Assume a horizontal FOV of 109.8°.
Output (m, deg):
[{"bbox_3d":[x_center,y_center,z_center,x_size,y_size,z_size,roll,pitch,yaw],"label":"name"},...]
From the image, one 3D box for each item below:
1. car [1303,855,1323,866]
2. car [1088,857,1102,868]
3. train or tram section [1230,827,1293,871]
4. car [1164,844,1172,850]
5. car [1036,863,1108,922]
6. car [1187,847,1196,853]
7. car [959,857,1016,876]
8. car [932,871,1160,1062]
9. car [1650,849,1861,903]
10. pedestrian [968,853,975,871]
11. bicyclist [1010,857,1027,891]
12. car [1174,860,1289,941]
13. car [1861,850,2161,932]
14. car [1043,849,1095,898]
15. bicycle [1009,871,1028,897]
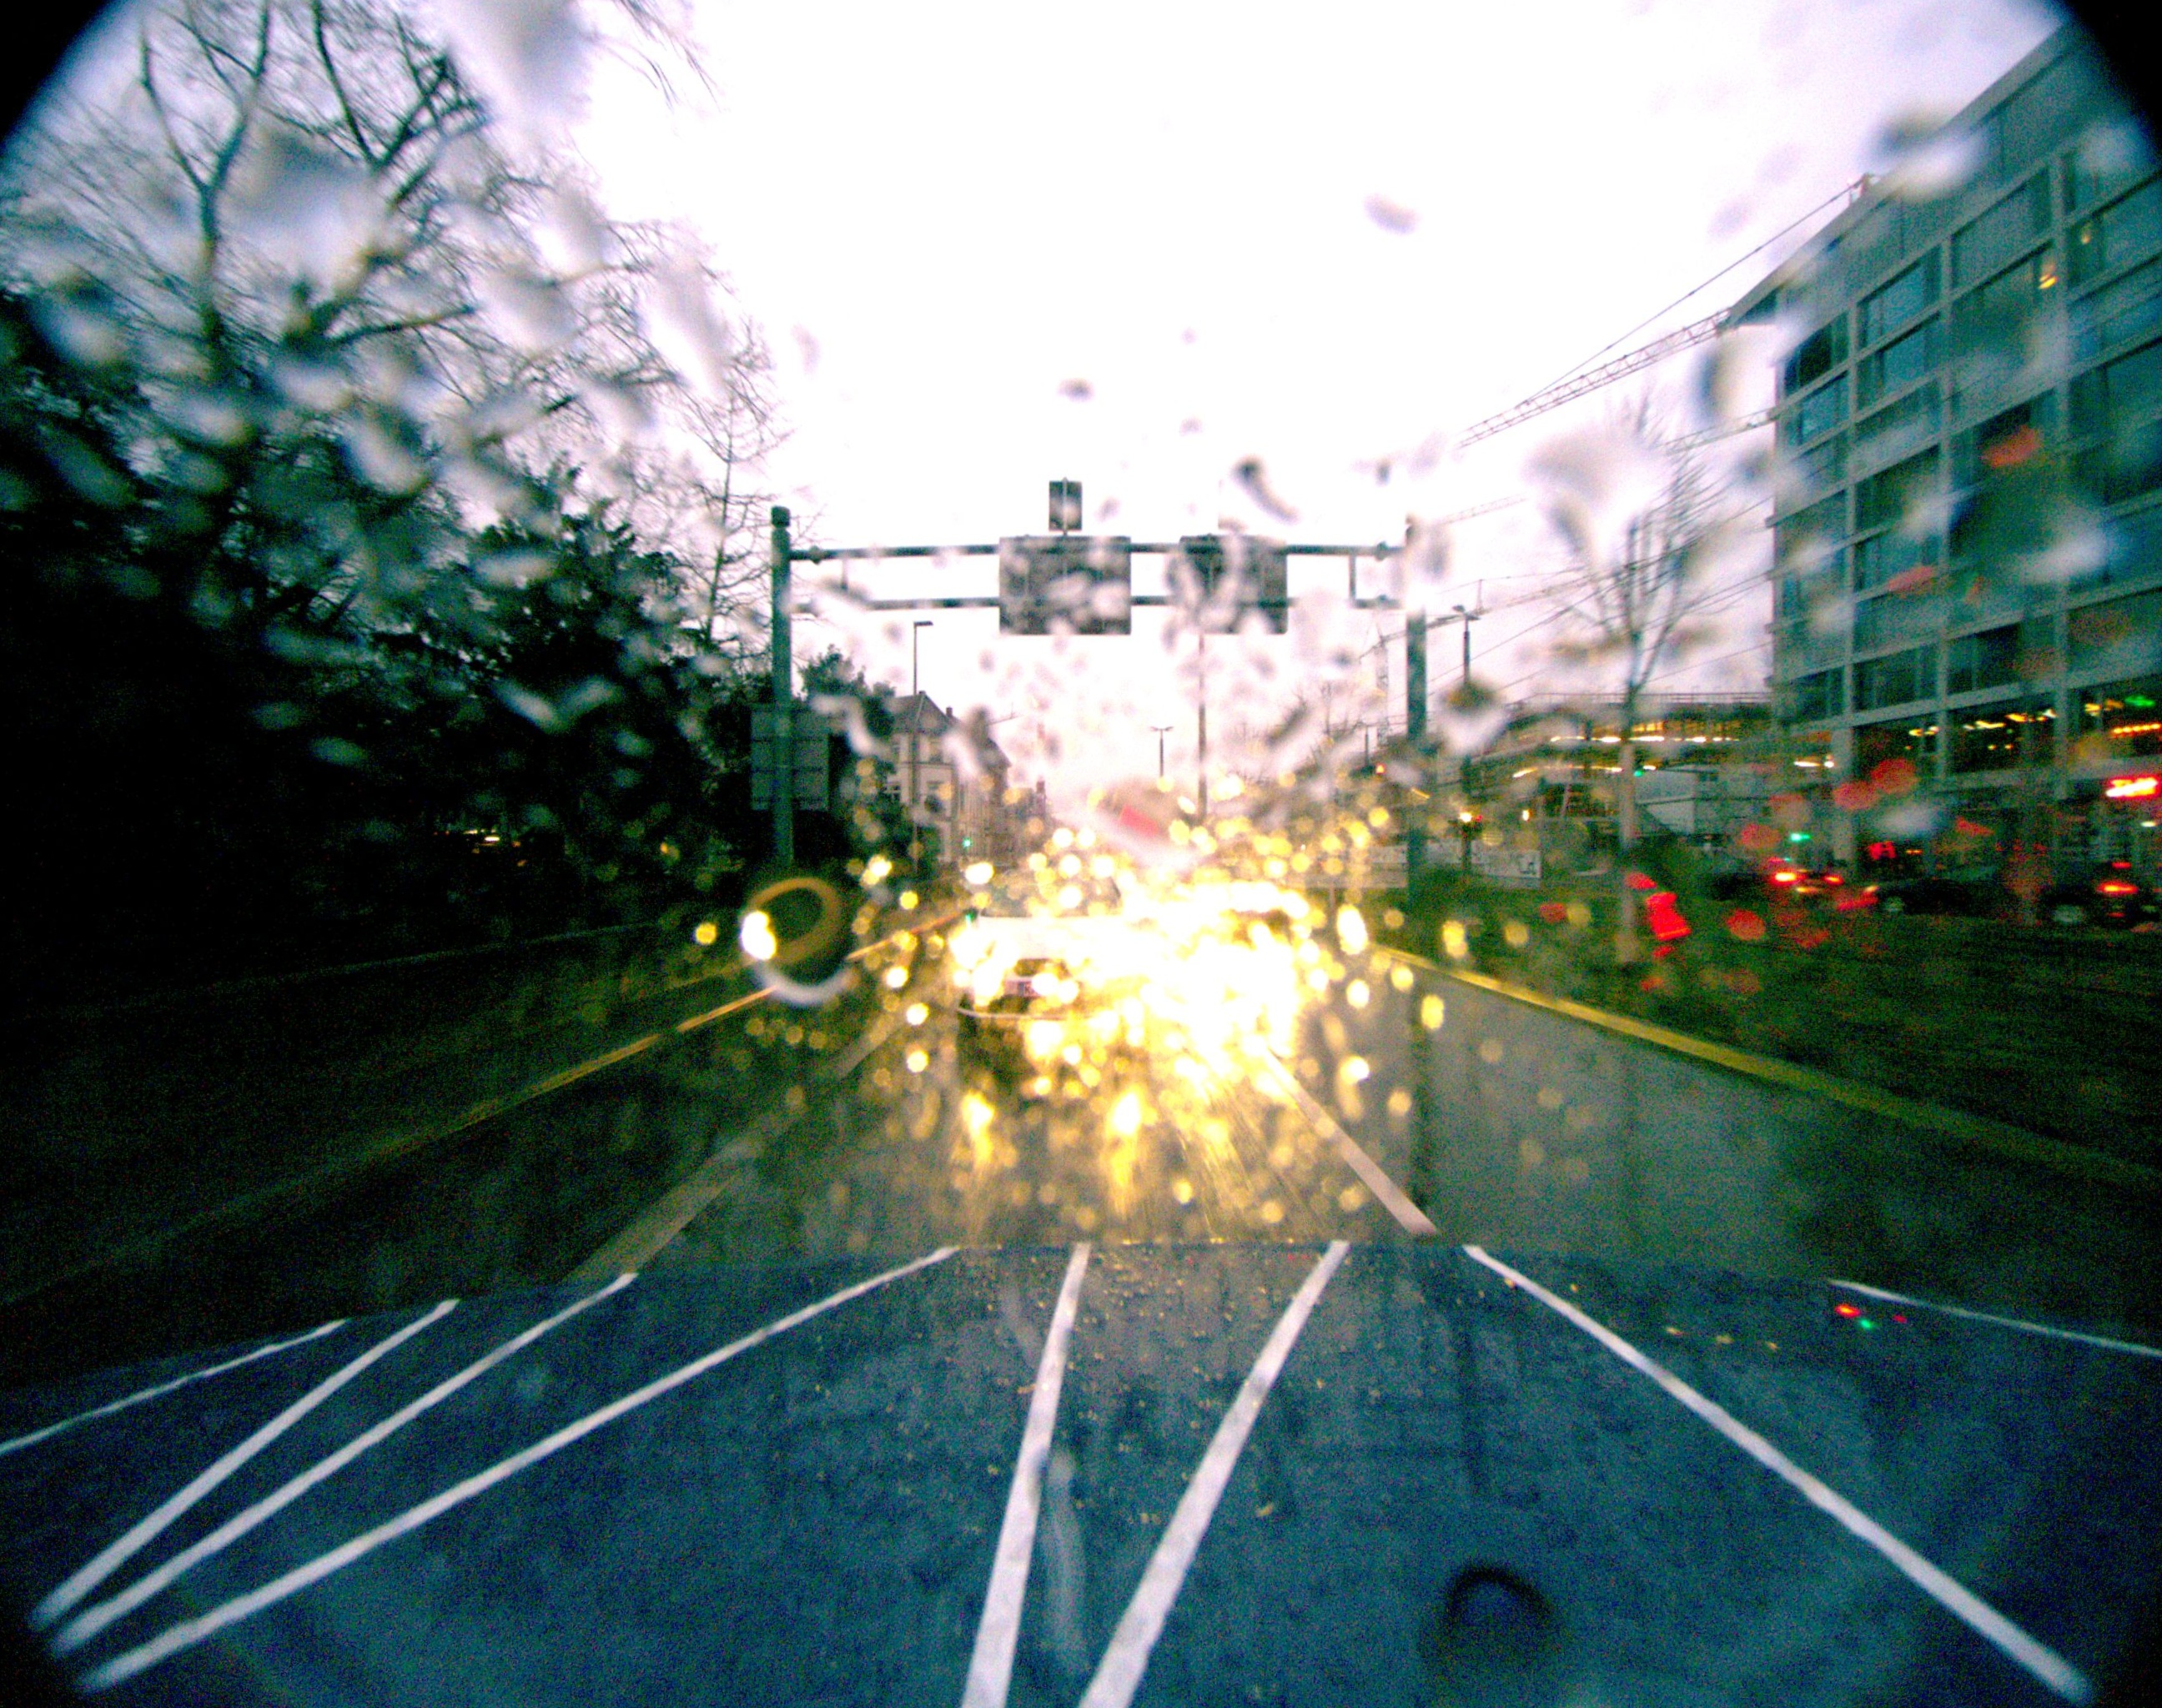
[{"bbox_3d":[35.182,0.964,115.261,1.998,1.556,4.001,0,0,3],"label":"car"},{"bbox_3d":[1.898,1.142,103.082,1.767,1.363,3.981,-2,1,1],"label":"car"},{"bbox_3d":[15.609,-0.431,67.085,2.964,3.466,14.269,0,0,3],"label":"train or tram section"},{"bbox_3d":[28.898,-2.263,252.089,1.998,2.002,4.000,0,0,1],"label":"car"},{"bbox_3d":[-0.220,0.969,20.561,1.728,1.318,3.981,-2,1,0],"label":"car"},{"bbox_3d":[32.624,-1.273,224.784,1.999,1.812,3.999,0,0,-2],"label":"car"},{"bbox_3d":[-7.261,0.918,59.278,4.008,1.403,1.872,0,0,-40],"label":"car"},{"bbox_3d":[-0.287,0.957,8.127,1.798,1.363,3.981,-2,1,0],"label":"car"},{"bbox_3d":[20.127,0.594,23.062,1.998,1.459,5.034,0,0,1],"label":"car"},{"bbox_3d":[-9.429,0.698,65.221,0.521,1.501,0.588,0,1,1],"label":"pedestrian"},{"bbox_3d":[-2.587,0.816,31.567,0.647,1.381,0.890,0,1,-1],"label":"bicyclist"},{"bbox_3d":[2.991,0.868,15.871,1.766,1.363,3.982,-2,1,3],"label":"car"},{"bbox_3d":[20.247,0.682,16.327,2.001,1.488,4.444,-1,0,-15],"label":"car"},{"bbox_3d":[-0.435,0.677,29.093,1.781,1.666,3.981,-2,1,0],"label":"car"},{"bbox_3d":[-2.594,1.234,31.593,0.647,0.961,2.046,0,0,0],"label":"bicycle"}]
